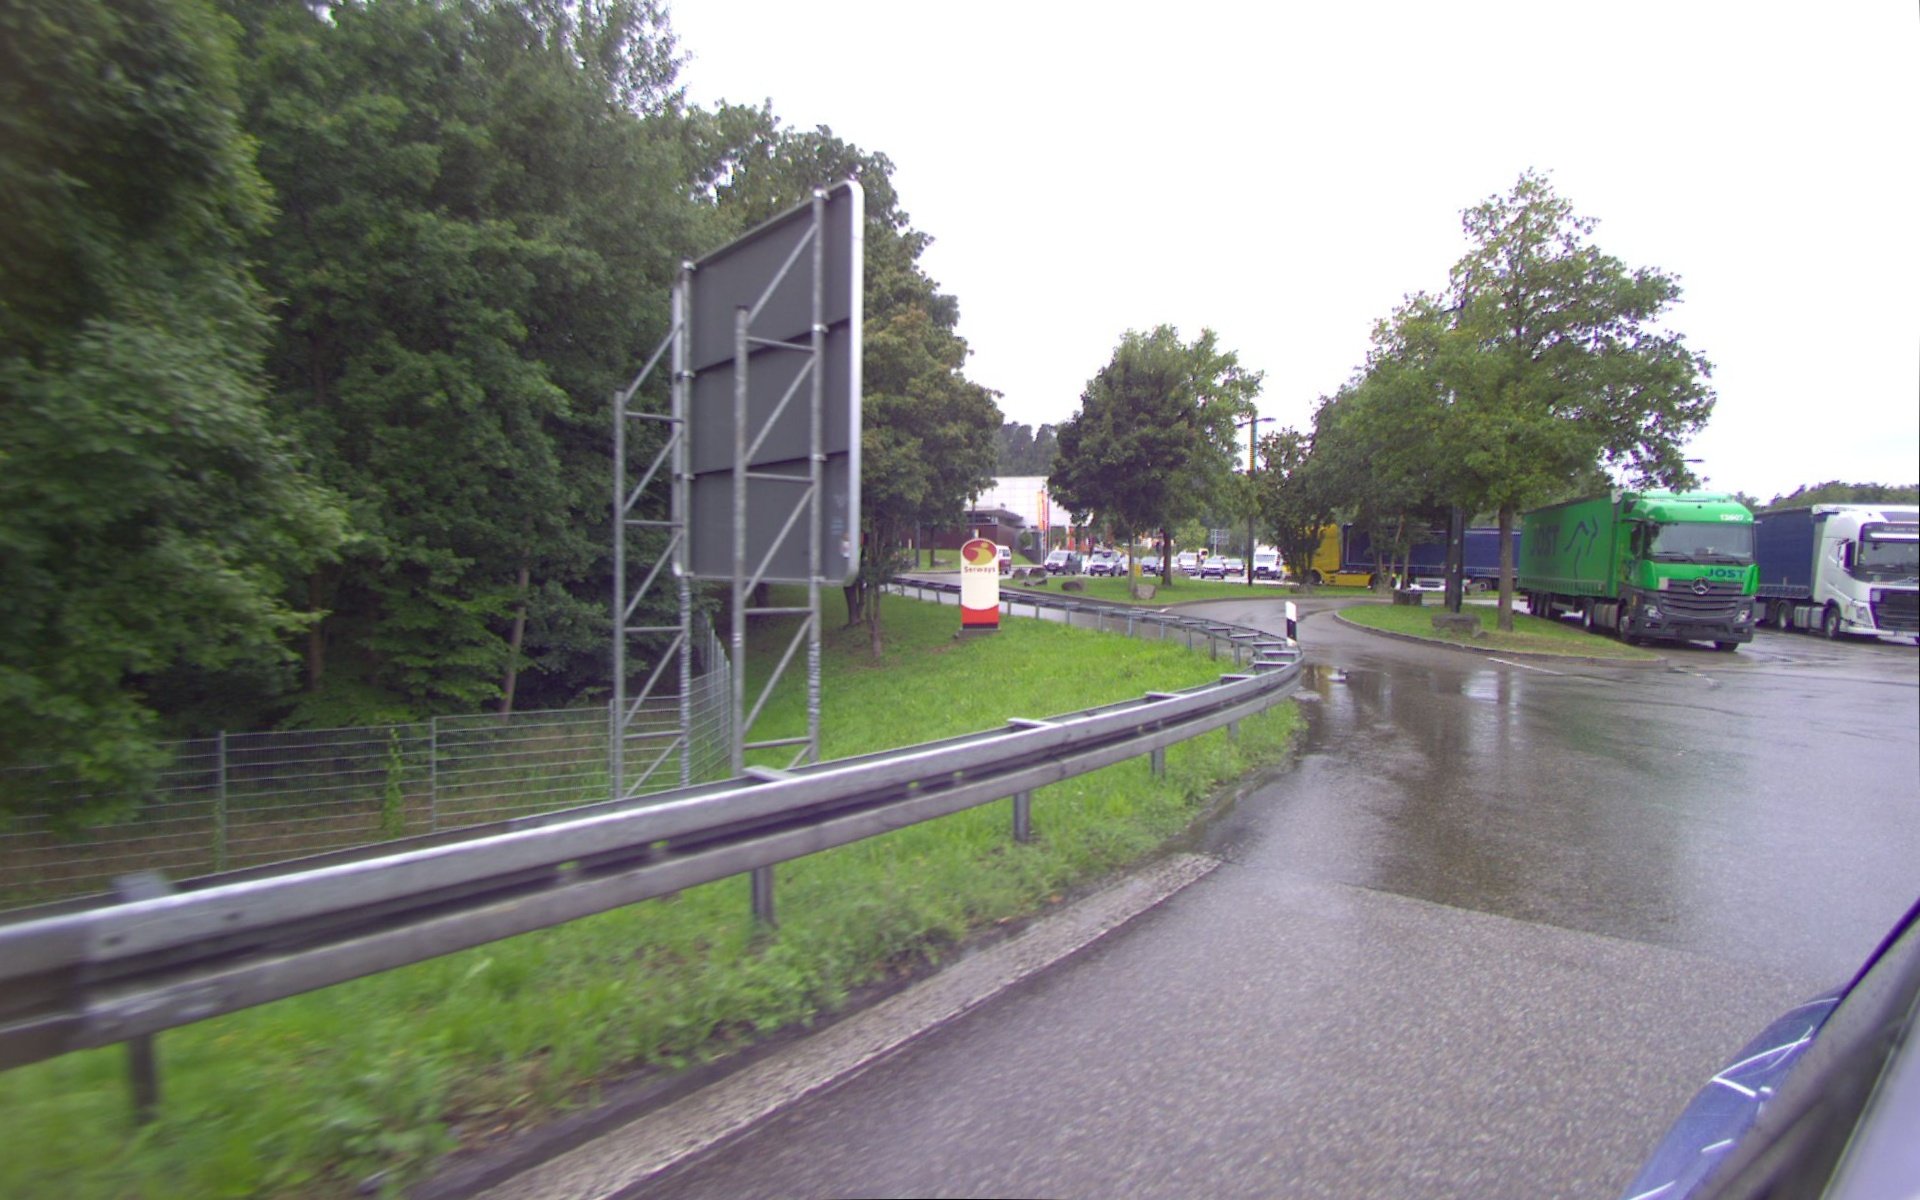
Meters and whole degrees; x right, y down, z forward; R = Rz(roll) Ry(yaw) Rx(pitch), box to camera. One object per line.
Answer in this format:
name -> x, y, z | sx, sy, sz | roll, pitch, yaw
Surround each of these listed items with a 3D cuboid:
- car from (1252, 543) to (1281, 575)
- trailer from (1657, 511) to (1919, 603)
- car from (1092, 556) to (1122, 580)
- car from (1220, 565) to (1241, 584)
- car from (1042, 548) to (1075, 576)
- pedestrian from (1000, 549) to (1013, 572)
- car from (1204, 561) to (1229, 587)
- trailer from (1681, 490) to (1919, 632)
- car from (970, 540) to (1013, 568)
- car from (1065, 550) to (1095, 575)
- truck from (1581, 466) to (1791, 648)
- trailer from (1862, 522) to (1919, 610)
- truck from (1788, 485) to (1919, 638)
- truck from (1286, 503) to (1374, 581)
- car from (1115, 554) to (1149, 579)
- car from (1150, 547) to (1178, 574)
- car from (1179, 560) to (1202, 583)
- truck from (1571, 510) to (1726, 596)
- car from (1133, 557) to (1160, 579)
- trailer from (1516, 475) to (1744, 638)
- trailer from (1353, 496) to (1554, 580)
car -> 25.502, -3.397, 84.321 | 1.971, 2.543, 4.720 | 2, 2, 14
trailer -> 45.472, -2.391, 54.947 | 11.890, 4.528, 3.237 | 3, 3, 22
car -> 10.983, -2.363, 75.491 | 1.734, 1.712, 3.979 | 0, 0, 16
car -> 24.988, -2.341, 93.327 | 1.802, 1.697, 3.979 | 0, 0, 16
car -> 7.392, -2.827, 75.568 | 1.793, 1.905, 3.979 | 0, 0, 16
pedestrian -> 3.454, -2.916, 75.184 | 0.702, 1.679, 0.795 | 1, 2, -25
car -> 20.176, -1.999, 79.468 | 1.760, 1.905, 3.979 | 0, 0, 16
trailer -> 30.144, -1.482, 36.847 | 2.793, 4.221, 13.901 | 2, 3, 21
car -> 2.273, -3.203, 71.547 | 1.941, 1.756, 4.519 | 0, 0, 16
car -> 9.823, -3.024, 82.713 | 1.828, 1.905, 3.979 | 0, 0, 16
truck -> 18.786, -1.175, 26.681 | 2.792, 4.200, 5.961 | 2, 3, 20
trailer -> 43.725, -1.398, 43.223 | 2.810, 3.966, 13.864 | 3, 3, 21
truck -> 27.535, -1.150, 30.133 | 2.794, 4.195, 5.267 | 2, 3, 21
truck -> 23.292, -3.571, 63.770 | 5.017, 4.610, 3.414 | 0, 0, 22
car -> 13.882, -2.727, 81.541 | 1.974, 1.910, 4.371 | 2, 2, 19
car -> 15.940, -3.056, 79.076 | 1.830, 1.905, 3.979 | 0, 0, 16
car -> 20.427, -2.482, 89.753 | 1.744, 1.905, 3.979 | 0, 0, 16
truck -> 38.940, -2.705, 57.525 | 6.458, 4.562, 3.237 | 3, 3, 21
car -> 16.676, -2.877, 90.347 | 1.972, 1.822, 3.981 | 3, 2, 16
trailer -> 21.147, -1.480, 33.153 | 2.792, 4.199, 13.883 | 2, 3, 20
trailer -> 29.517, -3.604, 61.252 | 10.612, 4.610, 3.414 | 0, 0, 22
